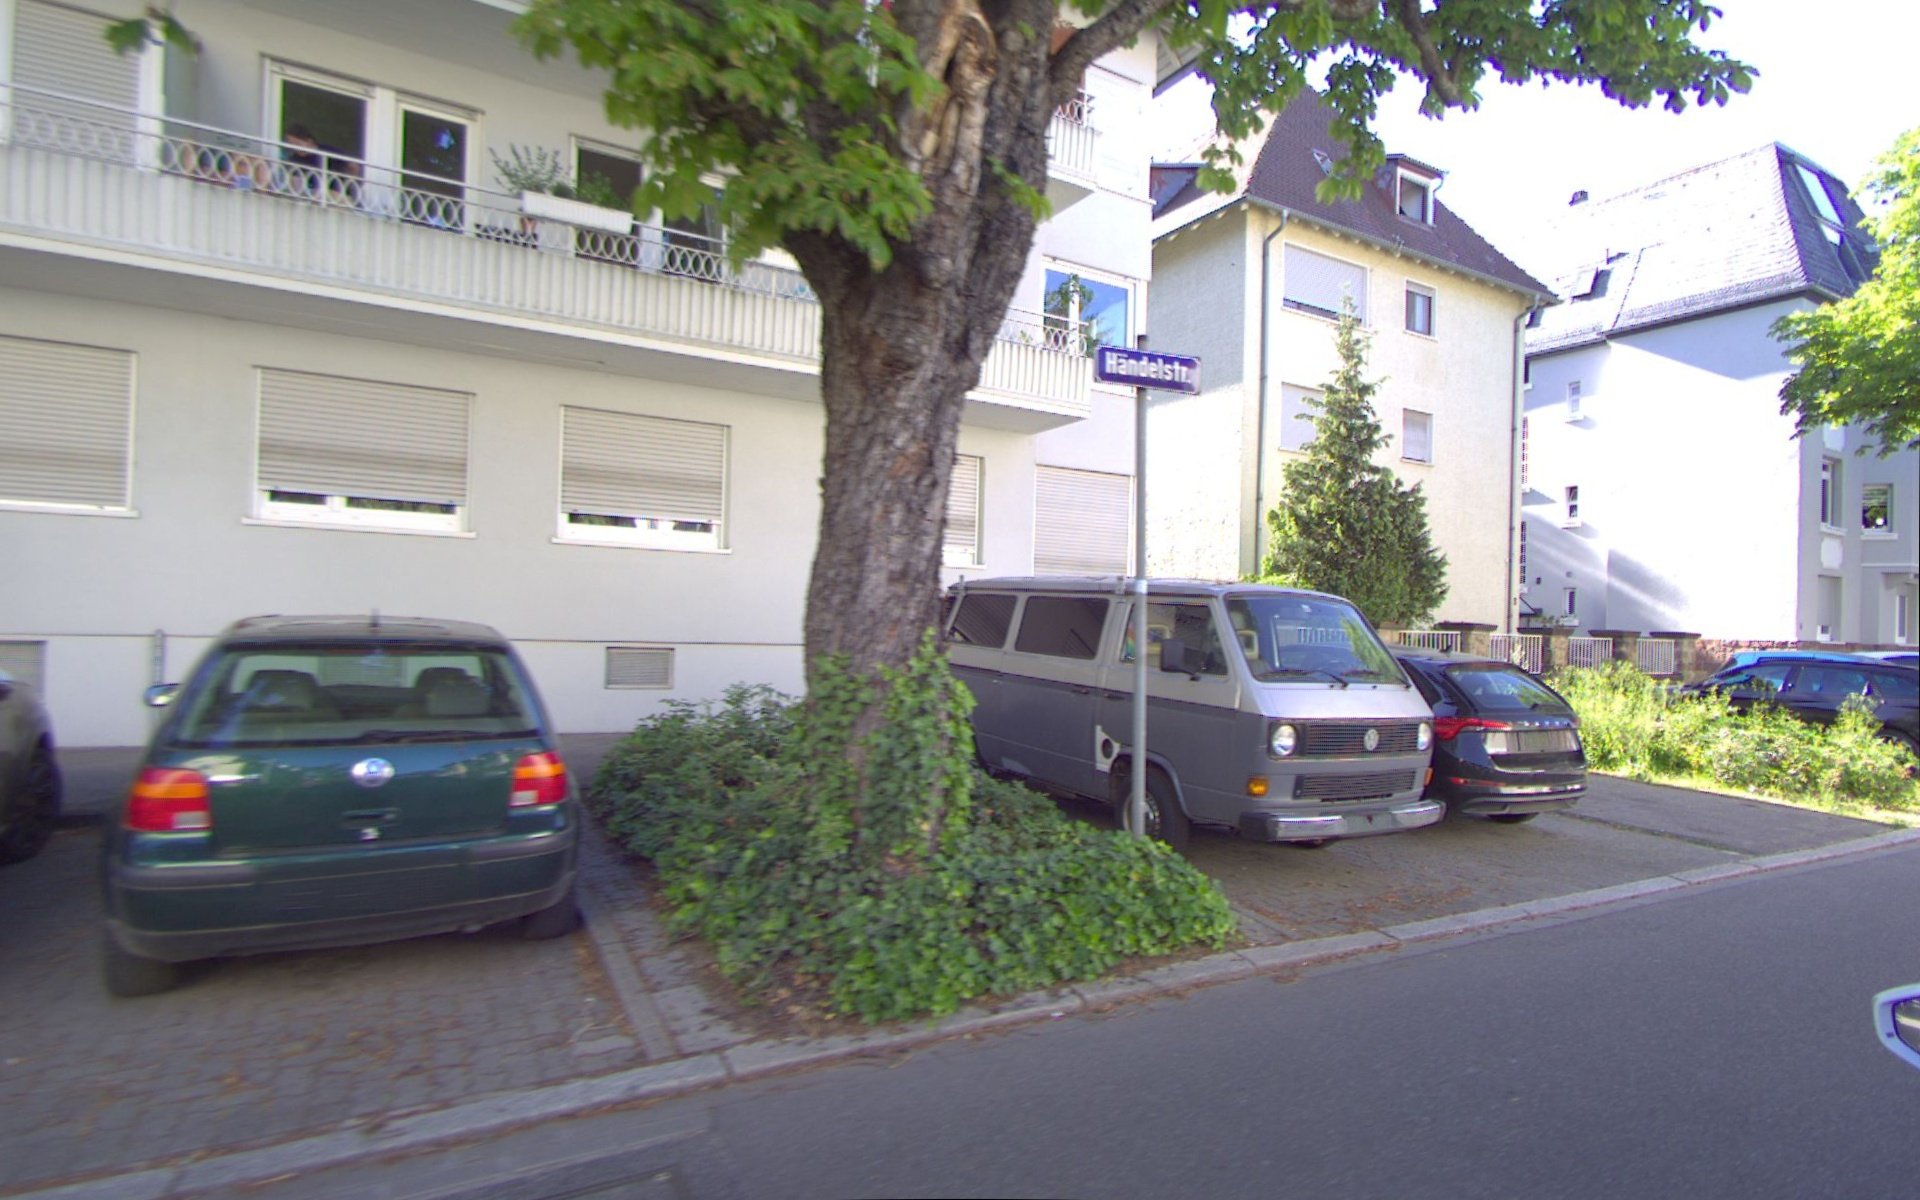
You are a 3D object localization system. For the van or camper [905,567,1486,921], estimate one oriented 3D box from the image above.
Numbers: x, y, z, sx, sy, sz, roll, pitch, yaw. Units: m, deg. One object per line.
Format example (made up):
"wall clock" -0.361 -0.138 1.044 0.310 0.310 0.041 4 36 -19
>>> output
"van or camper" 1.452 0.837 7.965 1.941 1.940 4.476 3 -1 -29

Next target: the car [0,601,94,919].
"car" -5.141 0.760 4.003 1.776 1.477 3.463 3 0 -28

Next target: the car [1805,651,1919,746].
"car" 18.308 1.793 18.095 1.800 1.674 4.369 1 -2 -28

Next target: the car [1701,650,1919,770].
"car" 14.044 1.651 15.361 1.857 1.613 3.967 3 -2 -31

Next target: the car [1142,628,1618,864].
"car" 3.569 1.115 9.315 1.641 1.518 3.930 2 0 -27

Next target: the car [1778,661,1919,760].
"car" 16.047 1.827 16.301 1.677 1.487 3.968 3 -2 -30

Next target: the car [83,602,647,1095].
"car" -3.005 0.807 5.252 1.696 1.433 3.901 2 0 -31

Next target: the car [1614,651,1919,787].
"car" 11.731 1.557 13.852 1.840 1.518 4.166 3 -2 -30
